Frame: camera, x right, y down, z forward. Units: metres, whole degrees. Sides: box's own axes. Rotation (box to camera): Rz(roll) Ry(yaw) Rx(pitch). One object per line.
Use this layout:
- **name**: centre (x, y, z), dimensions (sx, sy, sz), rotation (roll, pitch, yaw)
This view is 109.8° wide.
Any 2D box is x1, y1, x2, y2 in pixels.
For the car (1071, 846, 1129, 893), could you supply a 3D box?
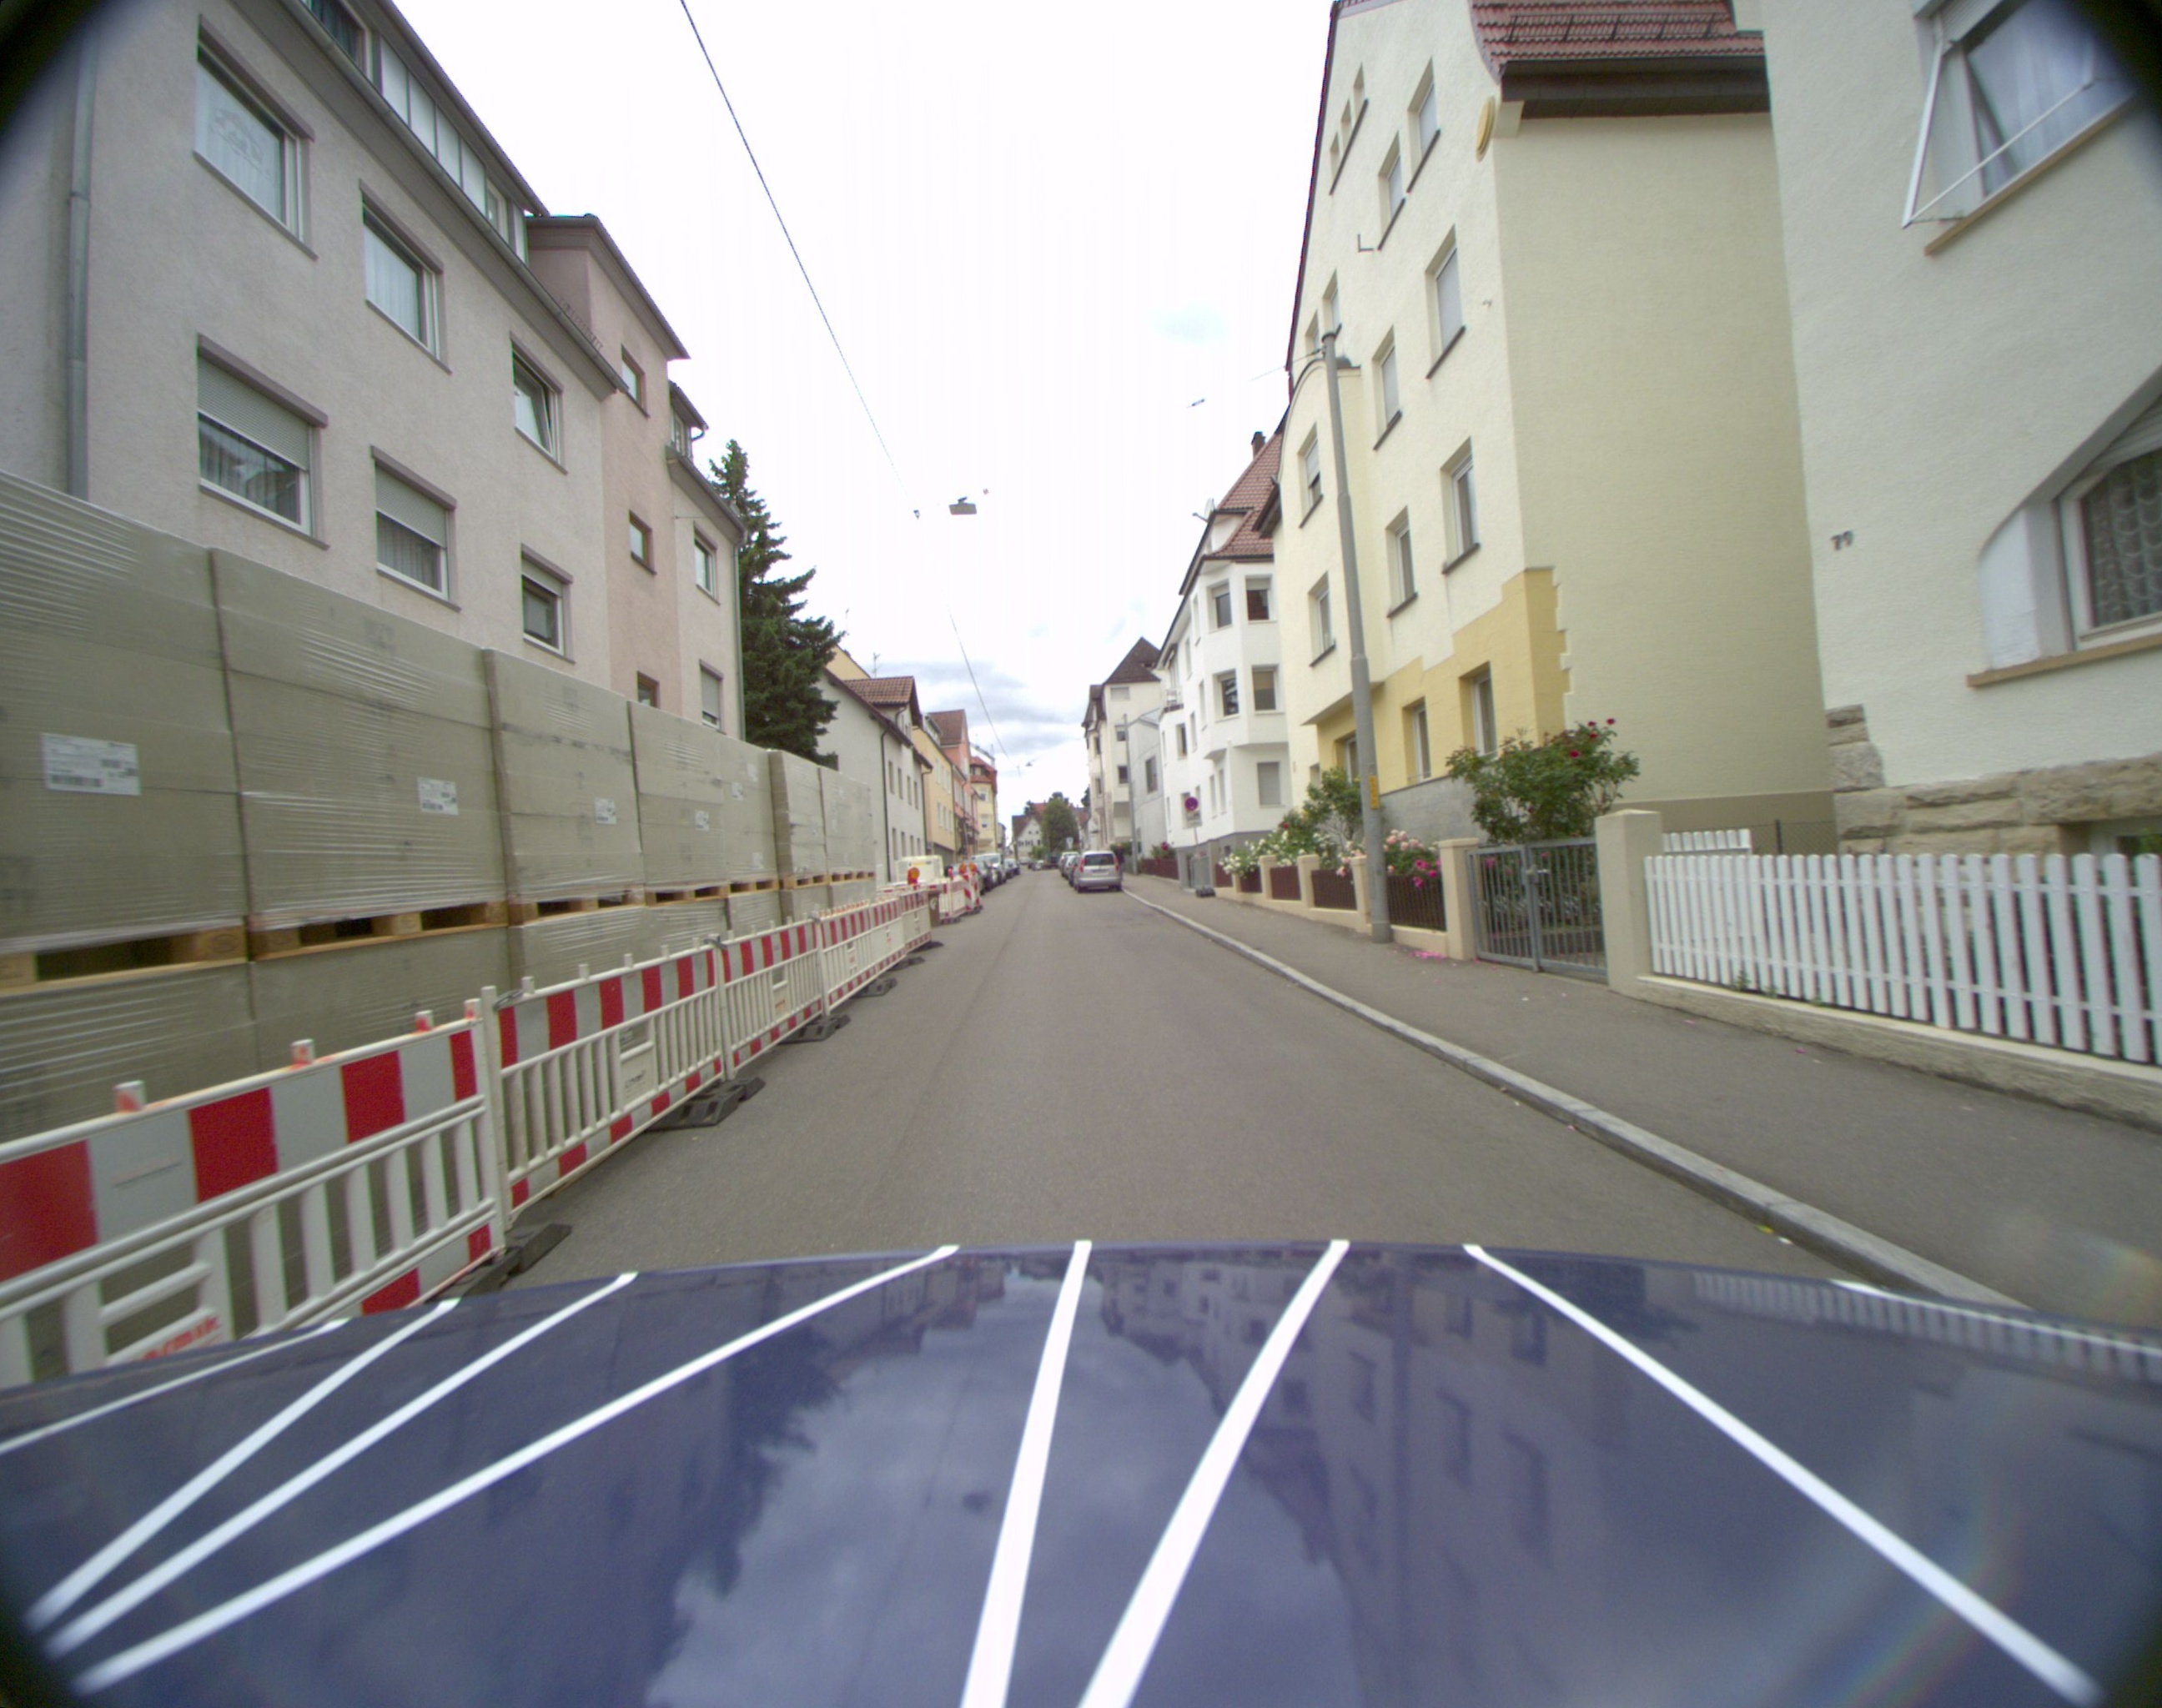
- **car**: centre (0.677, 0.597, 30.408), dimensions (1.850, 1.621, 4.285), rotation (-3, 0, -4)

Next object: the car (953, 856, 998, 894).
- **car**: centre (-5.107, 0.993, 37.393), dimensions (1.718, 1.587, 4.497), rotation (-5, 0, -4)

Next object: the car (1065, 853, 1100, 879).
- **car**: centre (0.020, 0.692, 46.761), dimensions (1.850, 1.405, 5.060), rotation (-3, 1, -2)

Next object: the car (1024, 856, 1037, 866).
- **car**: centre (-8.837, 1.149, 132.434), dimensions (1.856, 1.641, 3.943), rotation (-2, 0, -9)

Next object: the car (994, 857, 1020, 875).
- **car**: centre (-6.321, 1.023, 65.491), dimensions (1.857, 1.395, 4.291), rotation (-5, 0, -2)

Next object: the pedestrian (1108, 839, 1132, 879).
- **pedestrian**: centre (1.856, 0.244, 36.237), dimensions (0.817, 1.873, 0.848), rotation (-3, 1, 20)

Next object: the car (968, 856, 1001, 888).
- **car**: centre (-5.276, 0.980, 41.835), dimensions (1.491, 1.587, 2.790), rotation (-5, 0, -4)

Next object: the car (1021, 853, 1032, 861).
- **car**: centre (-10.835, 0.557, 150.376), dimensions (1.856, 1.441, 3.943), rotation (-2, 0, -9)

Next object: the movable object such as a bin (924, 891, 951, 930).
- **movable object such as a bin**: centre (-3.449, 1.357, 18.259), dimensions (0.400, 0.887, 0.364), rotation (-5, 1, 35)

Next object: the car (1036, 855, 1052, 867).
- **car**: centre (-4.976, 0.946, 102.920), dimensions (1.856, 1.454, 3.944), rotation (-2, -1, -7)

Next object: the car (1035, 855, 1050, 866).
- **car**: centre (-5.803, 1.008, 114.604), dimensions (1.856, 1.640, 3.944), rotation (-2, -1, -7)

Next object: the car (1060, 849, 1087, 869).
- **car**: centre (-0.663, 0.428, 62.949), dimensions (1.850, 1.507, 4.239), rotation (-3, 0, -4)

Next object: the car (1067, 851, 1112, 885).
- **car**: centre (0.342, 0.641, 36.629), dimensions (1.850, 1.449, 4.503), rotation (-3, 1, -2)

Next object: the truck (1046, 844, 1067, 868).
- **truck**: centre (-2.952, 0.249, 90.807), dimensions (2.317, 2.536, 6.288), rotation (-2, -2, -3)

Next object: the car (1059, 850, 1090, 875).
- **car**: centre (-0.471, 0.565, 52.510), dimensions (1.901, 1.518, 4.469), rotation (-3, 1, -2)

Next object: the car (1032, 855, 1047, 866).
- **car**: centre (-6.605, 1.081, 120.995), dimensions (1.856, 1.641, 3.943), rotation (-2, 0, -9)

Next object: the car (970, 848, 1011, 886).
- **car**: centre (-5.490, 0.756, 46.859), dimensions (1.910, 2.018, 5.732), rotation (-5, 0, -2)

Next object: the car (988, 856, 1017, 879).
- **car**: centre (-5.952, 0.989, 57.996), dimensions (1.857, 1.395, 4.573), rotation (-7, 1, -4)

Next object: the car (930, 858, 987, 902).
- **car**: centre (-5.084, 1.040, 31.901), dimensions (1.720, 1.556, 4.072), rotation (-5, 0, -2)

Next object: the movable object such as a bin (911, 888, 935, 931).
- **movable object such as a bin**: centre (-3.719, 1.307, 17.884), dimensions (0.451, 0.971, 0.400), rotation (-1, -2, -27)

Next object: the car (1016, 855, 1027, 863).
- **car**: centre (-12.331, 0.946, 156.652), dimensions (1.856, 1.441, 3.942), rotation (-2, 2, -9)
